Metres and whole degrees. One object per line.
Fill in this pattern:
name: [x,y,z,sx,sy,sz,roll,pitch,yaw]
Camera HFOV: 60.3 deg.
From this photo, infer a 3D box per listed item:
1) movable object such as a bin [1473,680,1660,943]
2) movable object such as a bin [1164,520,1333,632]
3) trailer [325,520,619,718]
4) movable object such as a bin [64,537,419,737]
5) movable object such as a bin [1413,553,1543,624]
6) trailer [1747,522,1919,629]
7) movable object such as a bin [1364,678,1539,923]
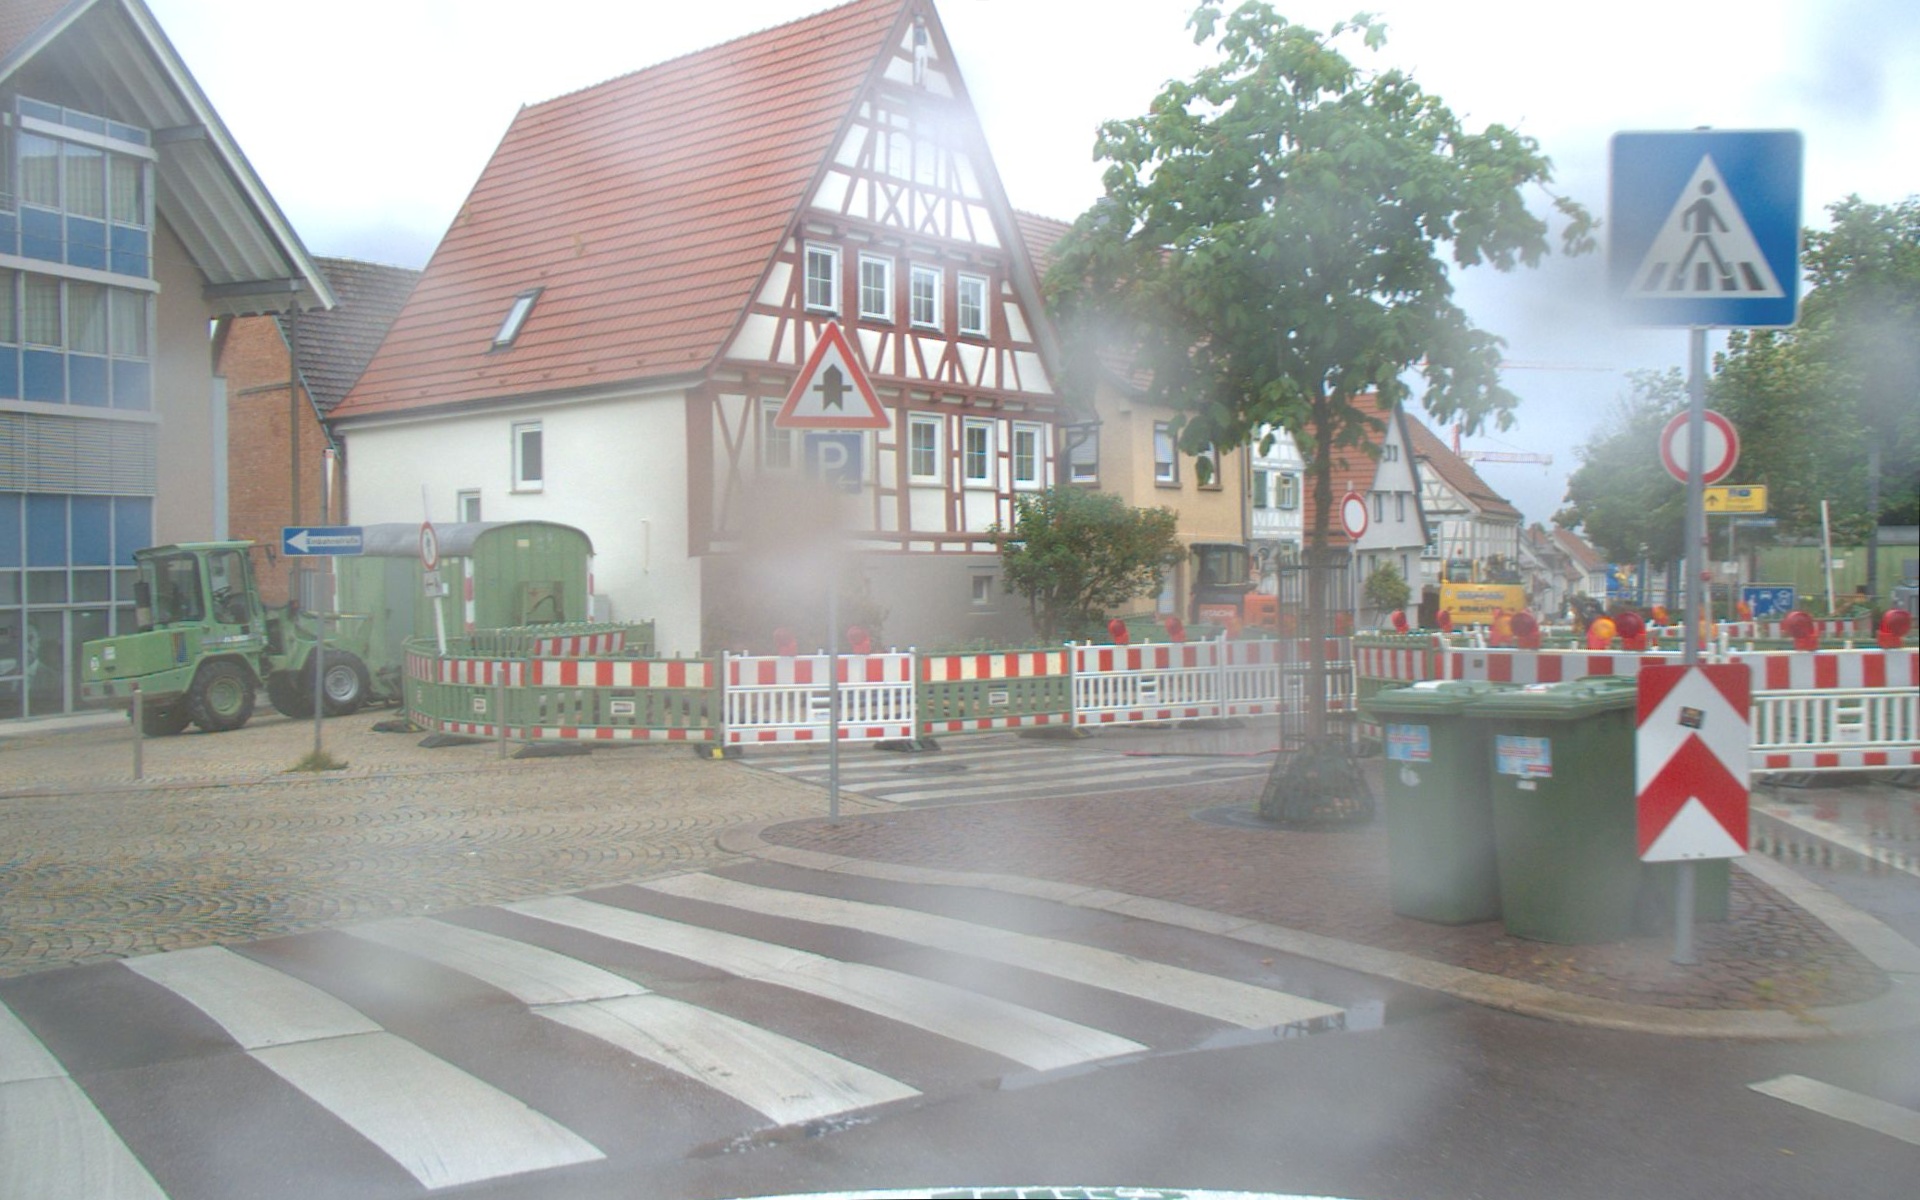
movable object such as a bin: [2.597,0.878,7.096,0.528,1.051,0.539,1,-2,-32]
movable object such as a bin: [5.782,-0.429,32.808,1.871,2.049,3.989,-2,-1,33]
trailer: [-7.890,0.240,26.548,4.549,2.886,2.478,1,0,41]
movable object such as a bin: [-10.239,0.454,23.860,1.874,2.599,4.274,-2,0,37]
movable object such as a bin: [15.950,-0.360,50.783,3.335,2.049,3.476,1,0,26]
trailer: [26.053,-0.711,47.926,5.661,2.999,2.000,1,0,20]
movable object such as a bin: [2.267,0.896,7.642,0.565,1.055,0.536,1,-2,-32]
